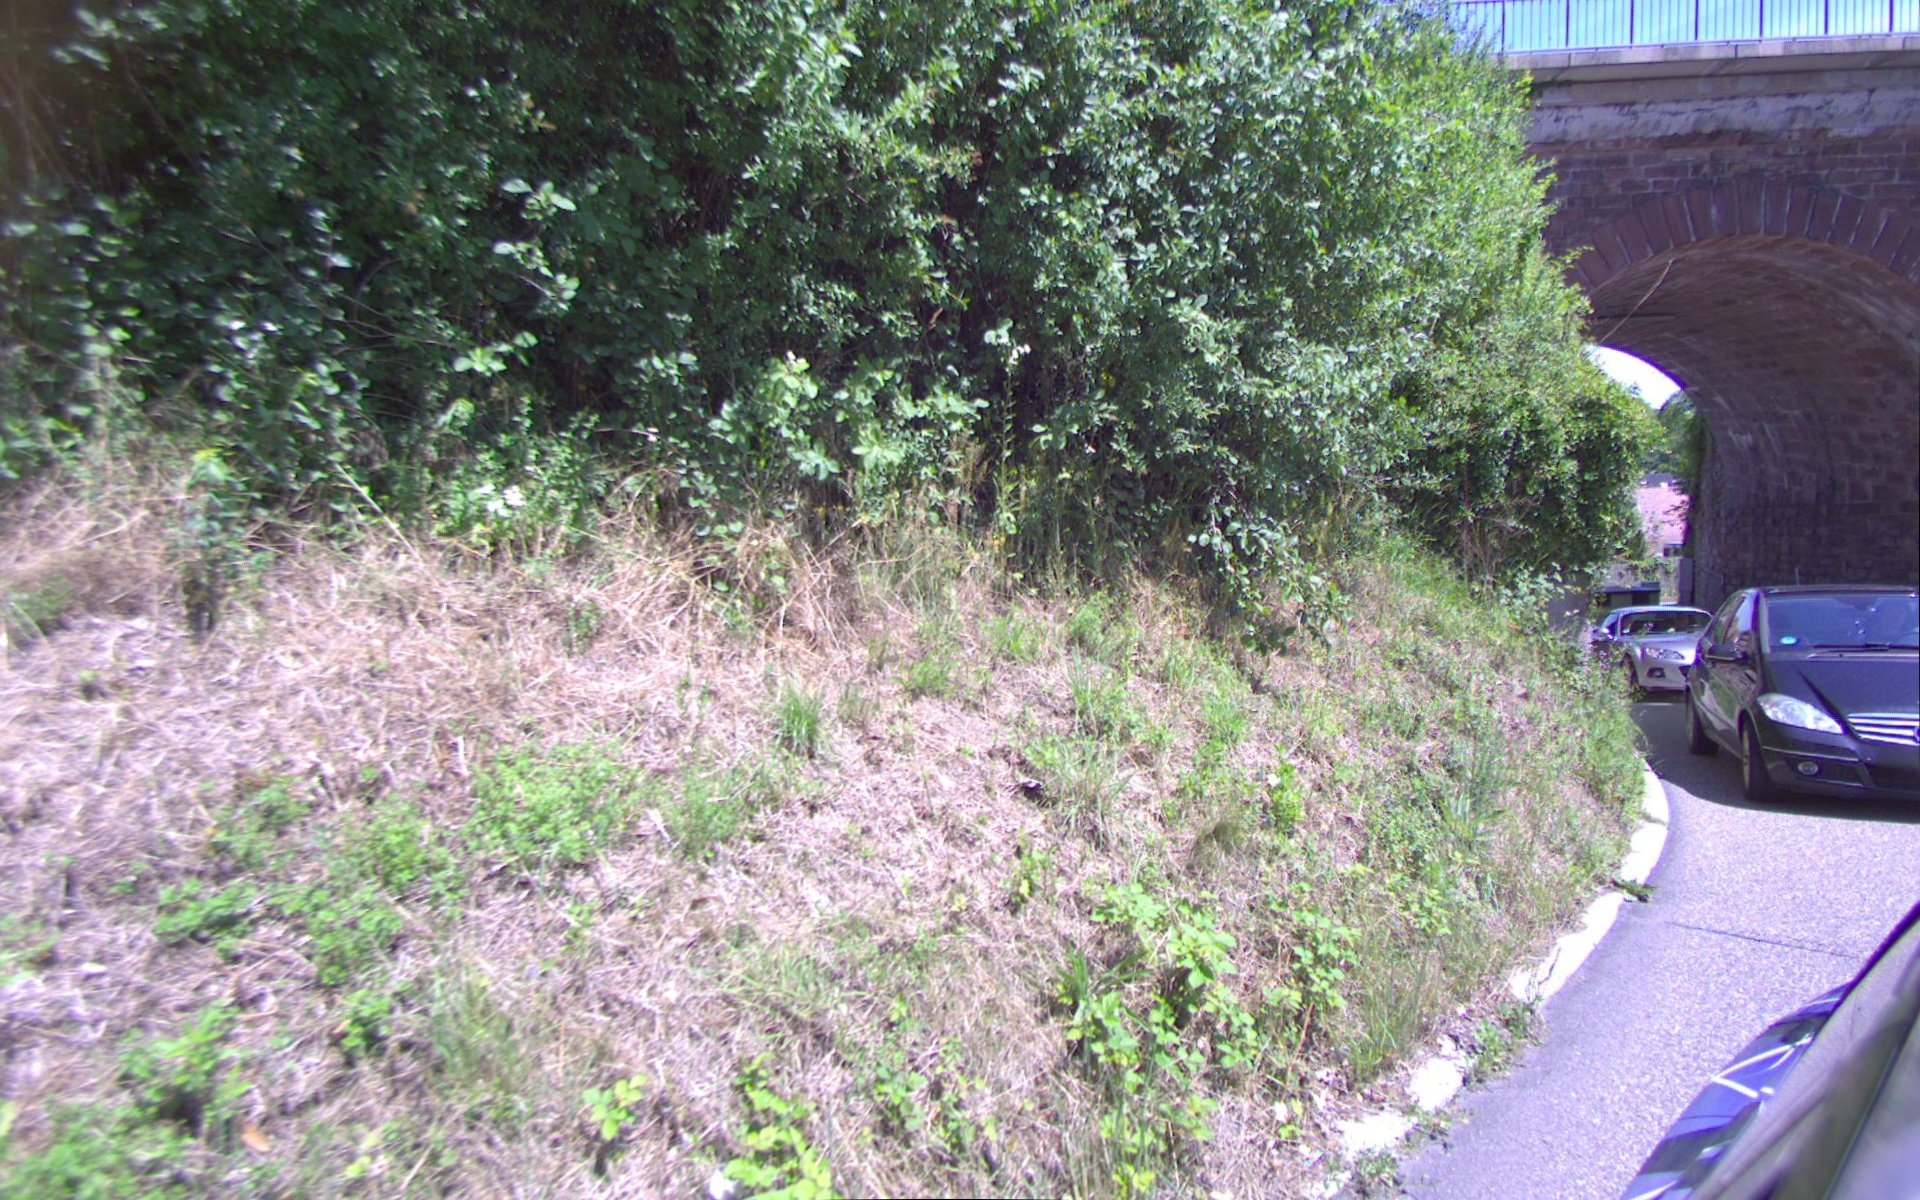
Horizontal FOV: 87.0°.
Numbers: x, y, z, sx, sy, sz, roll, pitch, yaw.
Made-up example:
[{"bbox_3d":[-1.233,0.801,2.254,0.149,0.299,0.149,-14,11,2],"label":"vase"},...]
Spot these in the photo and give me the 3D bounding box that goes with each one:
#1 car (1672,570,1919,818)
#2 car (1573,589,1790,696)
[{"bbox_3d":[7.116,0.585,8.163,1.780,1.599,3.762,-1,0,28],"label":"car"},{"bbox_3d":[10.619,0.564,15.171,1.627,1.339,3.418,-3,0,18],"label":"car"}]
